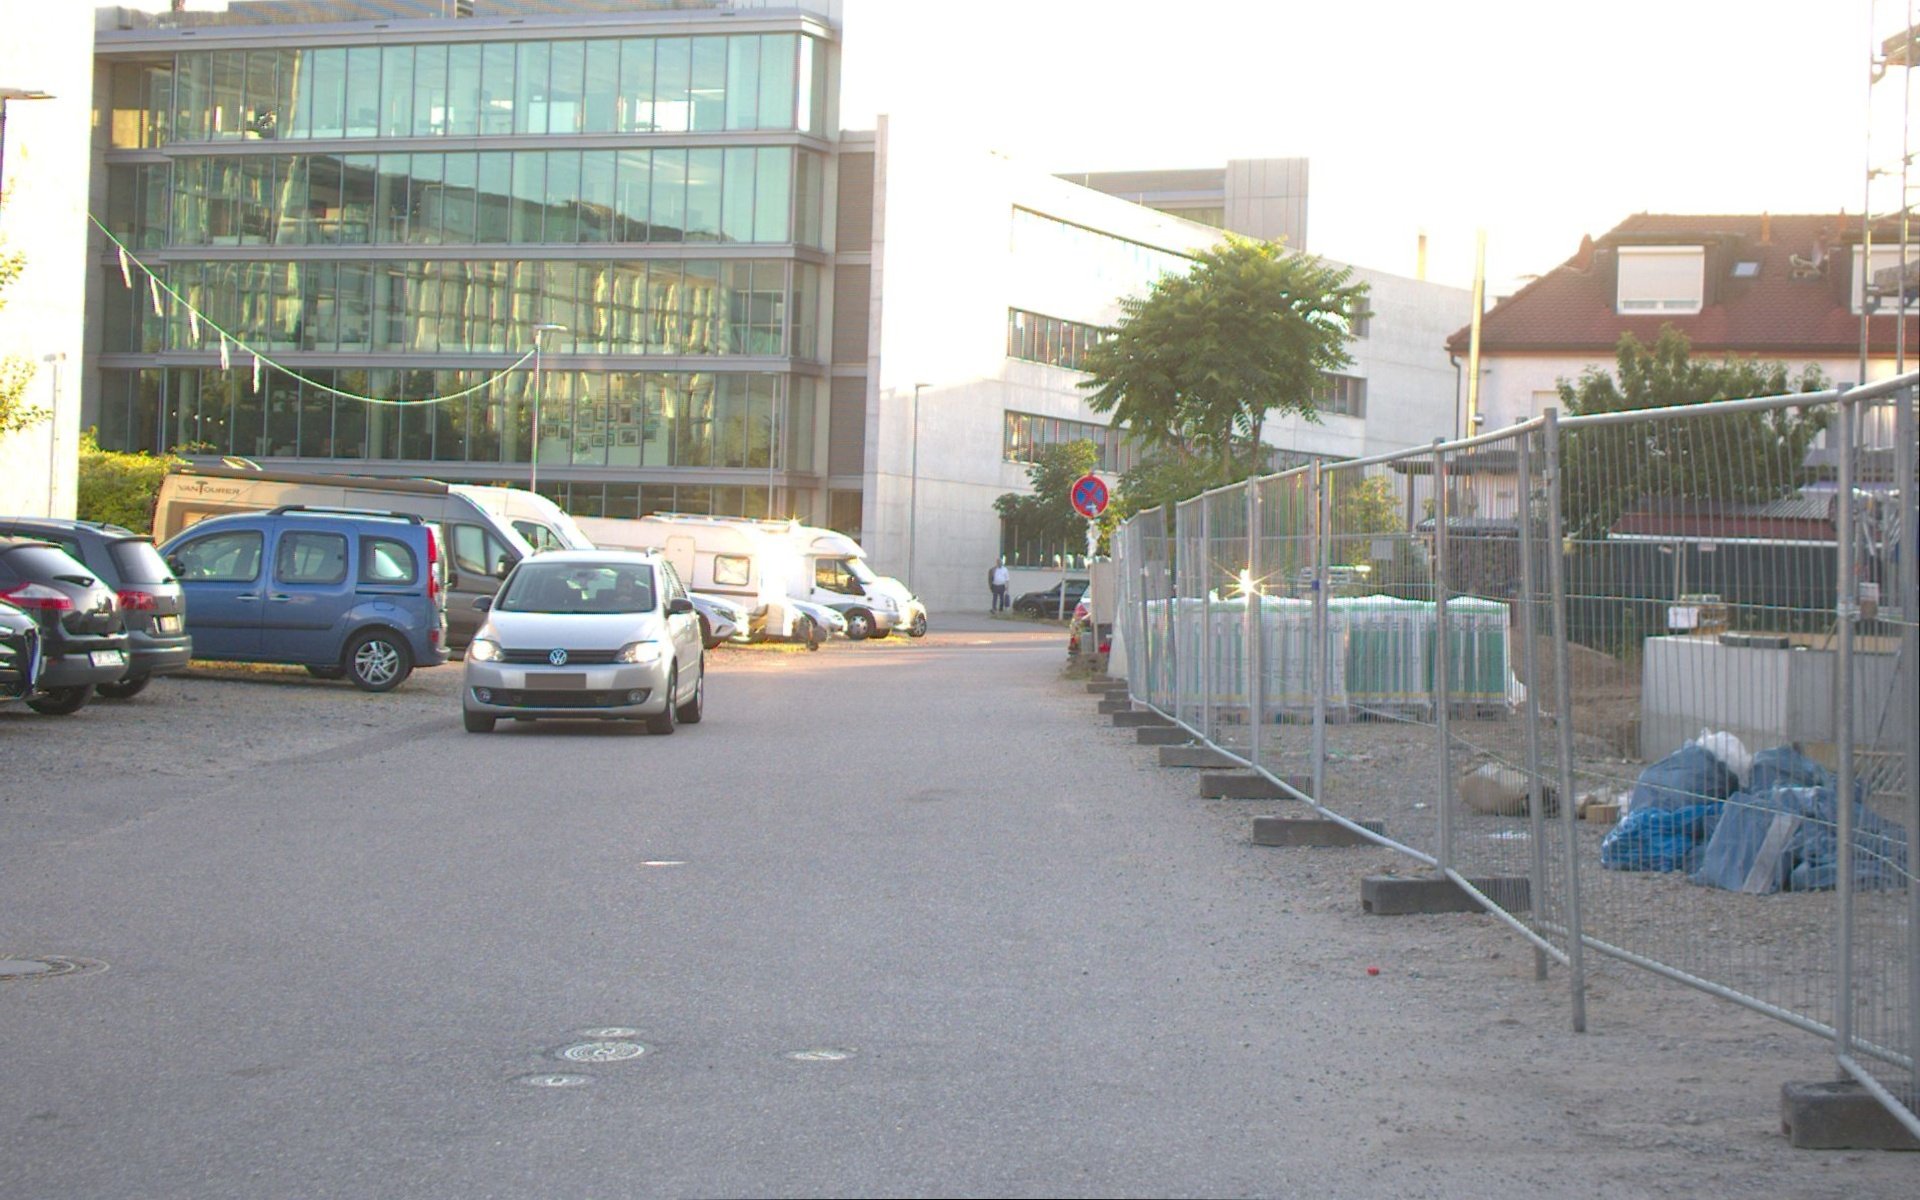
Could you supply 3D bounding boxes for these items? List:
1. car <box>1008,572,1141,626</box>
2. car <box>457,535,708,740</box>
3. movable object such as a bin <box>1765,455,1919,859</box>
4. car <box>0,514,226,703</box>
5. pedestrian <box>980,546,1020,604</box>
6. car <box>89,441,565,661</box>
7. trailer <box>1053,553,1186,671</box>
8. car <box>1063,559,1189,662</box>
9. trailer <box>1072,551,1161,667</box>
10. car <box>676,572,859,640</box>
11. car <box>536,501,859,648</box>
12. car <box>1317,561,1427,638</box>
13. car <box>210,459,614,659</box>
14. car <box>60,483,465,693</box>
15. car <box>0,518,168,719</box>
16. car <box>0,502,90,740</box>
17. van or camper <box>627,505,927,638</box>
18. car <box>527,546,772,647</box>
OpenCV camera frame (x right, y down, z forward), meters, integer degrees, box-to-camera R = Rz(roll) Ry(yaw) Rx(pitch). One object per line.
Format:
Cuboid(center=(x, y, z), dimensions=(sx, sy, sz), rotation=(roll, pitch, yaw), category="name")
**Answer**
Cuboid(center=(3.550, -0.046, 106.339), dimensions=(3.737, 1.477, 1.768), rotation=(3, 2, 16), category="car")
Cuboid(center=(-3.235, 0.296, 30.189), dimensions=(1.670, 1.614, 4.285), rotation=(2, 0, 0), category="car")
Cuboid(center=(6.429, 0.335, 19.165), dimensions=(2.065, 2.266, 8.368), rotation=(1, 1, 1), category="movable object such as a bin")
Cuboid(center=(-8.770, 0.020, 30.785), dimensions=(3.927, 1.575, 1.642), rotation=(2, 1, 10), category="car")
Cuboid(center=(1.287, -0.796, 110.199), dimensions=(0.899, 1.844, 0.856), rotation=(0, 1, -37), category="pedestrian")
Cuboid(center=(-9.124, -0.685, 49.988), dimensions=(6.387, 2.704, 2.113), rotation=(4, -1, -1), category="car")
Cuboid(center=(2.554, 0.173, 54.189), dimensions=(1.731, 1.771, 4.936), rotation=(0, 0, 7), category="trailer")
Cuboid(center=(2.932, 0.163, 59.924), dimensions=(1.806, 1.719, 4.927), rotation=(0, 0, 7), category="car")
Cuboid(center=(2.291, 0.120, 50.673), dimensions=(1.250, 1.659, 2.803), rotation=(0, 0, 1), category="trailer")
Cuboid(center=(-4.335, 0.118, 77.757), dimensions=(3.809, 1.324, 1.692), rotation=(3, 1, 9), category="car")
Cuboid(center=(-5.252, -0.500, 69.175), dimensions=(5.891, 2.525, 2.410), rotation=(4, -1, 12), category="car")
Cuboid(center=(11.606, -0.025, 96.603), dimensions=(2.067, 2.088, 4.867), rotation=(1, 1, 19), category="car")
Cuboid(center=(-8.580, -0.650, 54.157), dimensions=(5.826, 2.703, 2.050), rotation=(4, 1, 4), category="car")
Cuboid(center=(-7.235, -0.134, 35.991), dimensions=(3.924, 1.905, 1.748), rotation=(4, 1, -7), category="car")
Cuboid(center=(-8.520, 0.089, 27.387), dimensions=(3.927, 1.511, 1.642), rotation=(2, -1, 10), category="car")
Cuboid(center=(-8.540, 0.067, 24.630), dimensions=(4.090, 1.622, 1.821), rotation=(2, 1, 3), category="car")
Cuboid(center=(-4.401, -0.695, 83.111), dimensions=(6.744, 2.888, 2.407), rotation=(3, 0, 11), category="van or camper")
Cuboid(center=(-5.798, -0.077, 64.324), dimensions=(4.129, 1.585, 1.747), rotation=(4, 1, 14), category="car")
